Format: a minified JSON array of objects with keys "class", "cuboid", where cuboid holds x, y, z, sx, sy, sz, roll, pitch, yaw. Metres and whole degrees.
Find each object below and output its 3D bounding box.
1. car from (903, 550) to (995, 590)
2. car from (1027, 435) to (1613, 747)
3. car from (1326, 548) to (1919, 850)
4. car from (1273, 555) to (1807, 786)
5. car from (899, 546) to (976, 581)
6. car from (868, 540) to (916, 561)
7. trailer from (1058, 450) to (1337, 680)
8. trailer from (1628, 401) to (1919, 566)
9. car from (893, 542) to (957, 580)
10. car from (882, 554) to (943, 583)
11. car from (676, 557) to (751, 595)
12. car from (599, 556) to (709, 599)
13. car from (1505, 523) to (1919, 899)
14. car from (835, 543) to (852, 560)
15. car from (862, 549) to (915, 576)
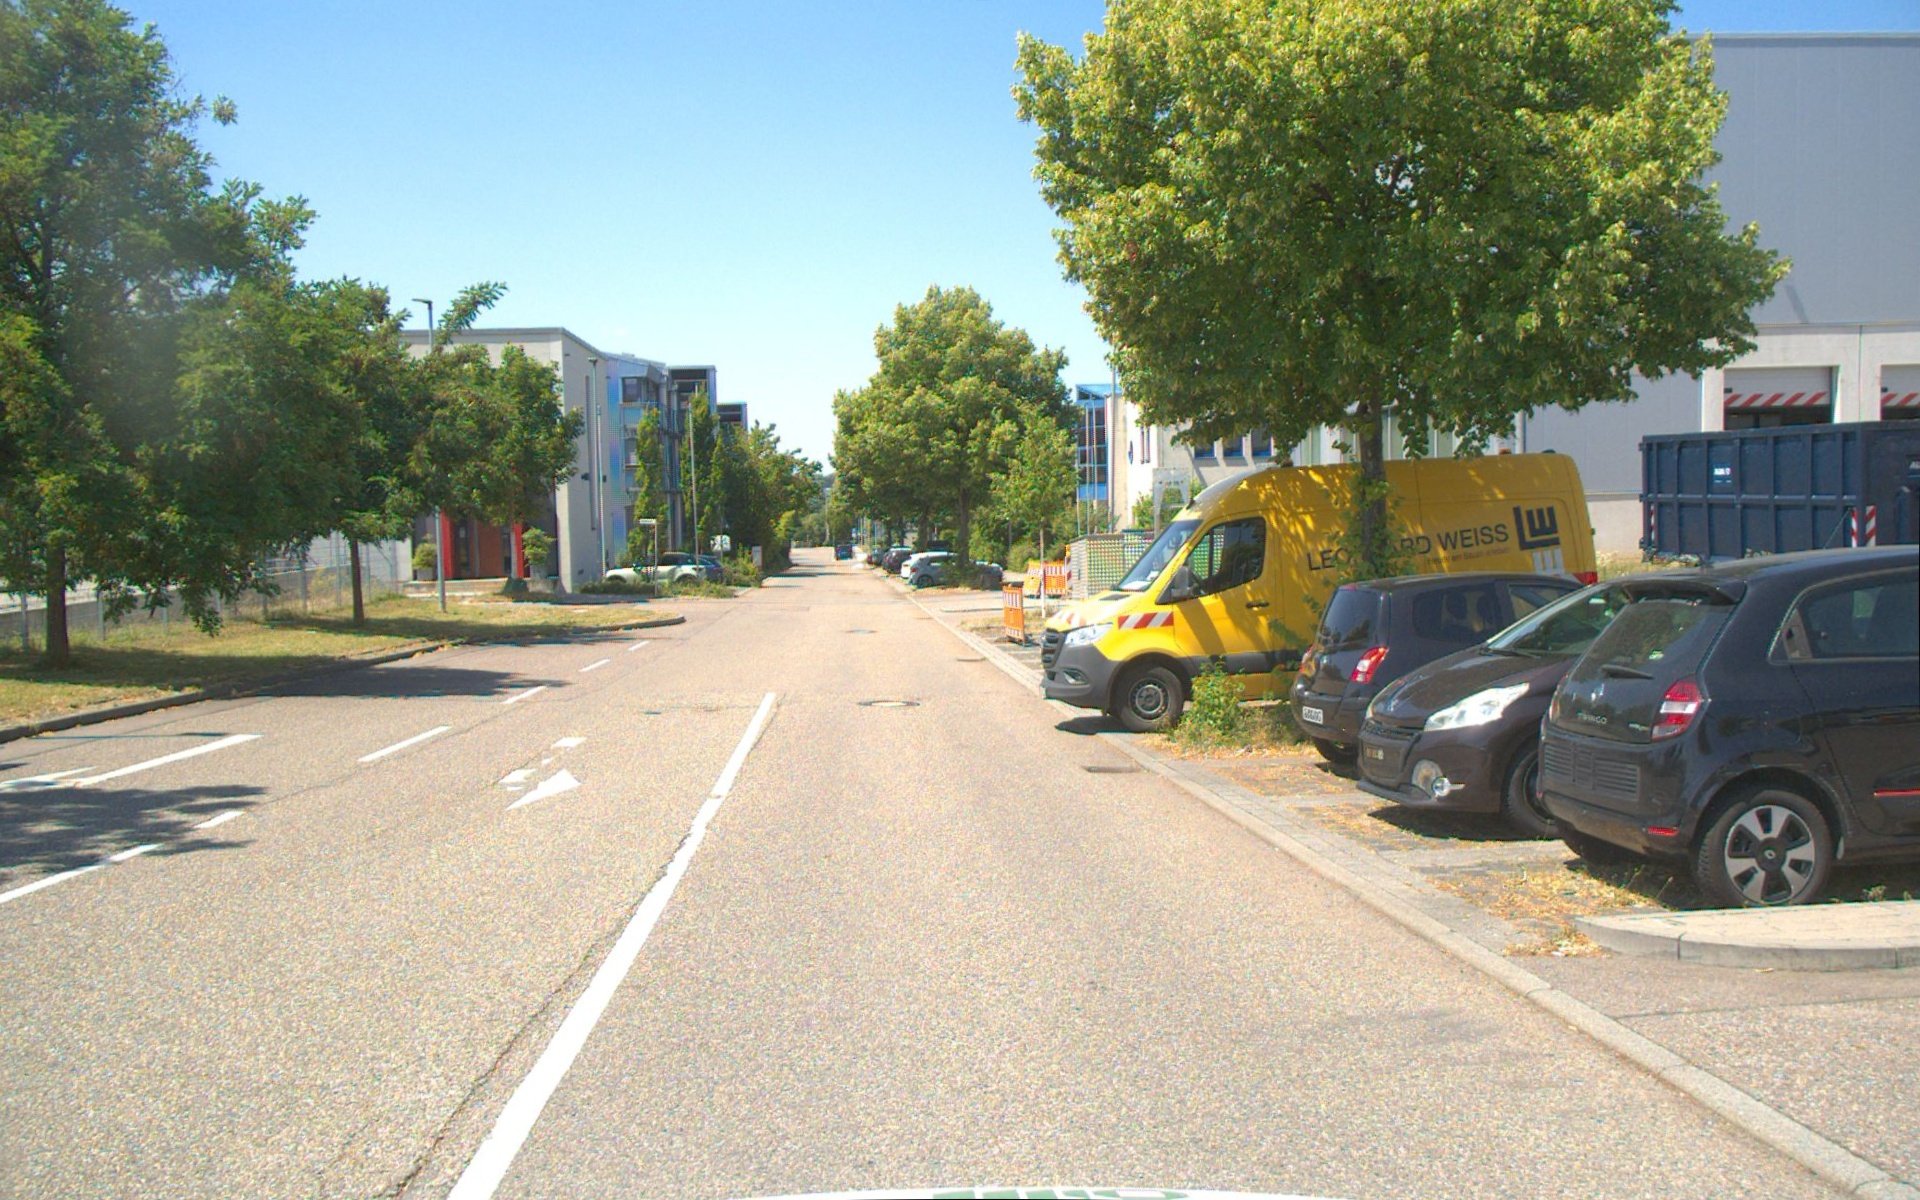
[{"class":"car","cuboid":[-0.489,-1.287,69.679,3.612,1.377,1.642,-5,2,-9]},{"class":"car","cuboid":[3.729,-0.160,17.629,5.669,2.779,1.998,-4,3,-6]},{"class":"car","cuboid":[4.337,0.522,10.231,3.699,1.533,1.589,-3,1,-7]},{"class":"car","cuboid":[4.401,0.480,12.823,3.533,1.504,1.626,-3,1,-6]},{"class":"car","cuboid":[-1.106,-1.737,79.359,3.452,1.377,1.535,-5,2,-9]},{"class":"car","cuboid":[-5.830,-4.257,141.224,3.863,1.604,1.763,-2,5,-12]},{"class":"trailer","cuboid":[3.372,-0.550,24.964,2.607,2.906,5.511,-4,2,-8]},{"class":"trailer","cuboid":[14.505,-2.110,28.649,2.605,2.461,7.415,-1,5,-2]},{"class":"car","cuboid":[-2.112,-2.326,98.280,3.649,2.147,1.812,-2,1,-5]},{"class":"car","cuboid":[-2.940,-1.959,101.709,3.649,1.655,1.812,-2,1,-5]},{"class":"car","cuboid":[-10.190,-1.007,68.324,3.003,1.504,1.289,-1,1,-11]},{"class":"car","cuboid":[-11.729,-0.885,63.596,3.969,1.520,1.726,-2,1,-7]},{"class":"car","cuboid":[4.736,0.386,7.991,3.589,1.487,1.626,-4,1,-4]},{"class":"car","cuboid":[-12.694,-5.286,179.950,1.726,1.786,3.942,-1,2,-4]},{"class":"car","cuboid":[-5.543,-2.911,128.851,3.863,1.866,1.763,-2,5,-12]}]
